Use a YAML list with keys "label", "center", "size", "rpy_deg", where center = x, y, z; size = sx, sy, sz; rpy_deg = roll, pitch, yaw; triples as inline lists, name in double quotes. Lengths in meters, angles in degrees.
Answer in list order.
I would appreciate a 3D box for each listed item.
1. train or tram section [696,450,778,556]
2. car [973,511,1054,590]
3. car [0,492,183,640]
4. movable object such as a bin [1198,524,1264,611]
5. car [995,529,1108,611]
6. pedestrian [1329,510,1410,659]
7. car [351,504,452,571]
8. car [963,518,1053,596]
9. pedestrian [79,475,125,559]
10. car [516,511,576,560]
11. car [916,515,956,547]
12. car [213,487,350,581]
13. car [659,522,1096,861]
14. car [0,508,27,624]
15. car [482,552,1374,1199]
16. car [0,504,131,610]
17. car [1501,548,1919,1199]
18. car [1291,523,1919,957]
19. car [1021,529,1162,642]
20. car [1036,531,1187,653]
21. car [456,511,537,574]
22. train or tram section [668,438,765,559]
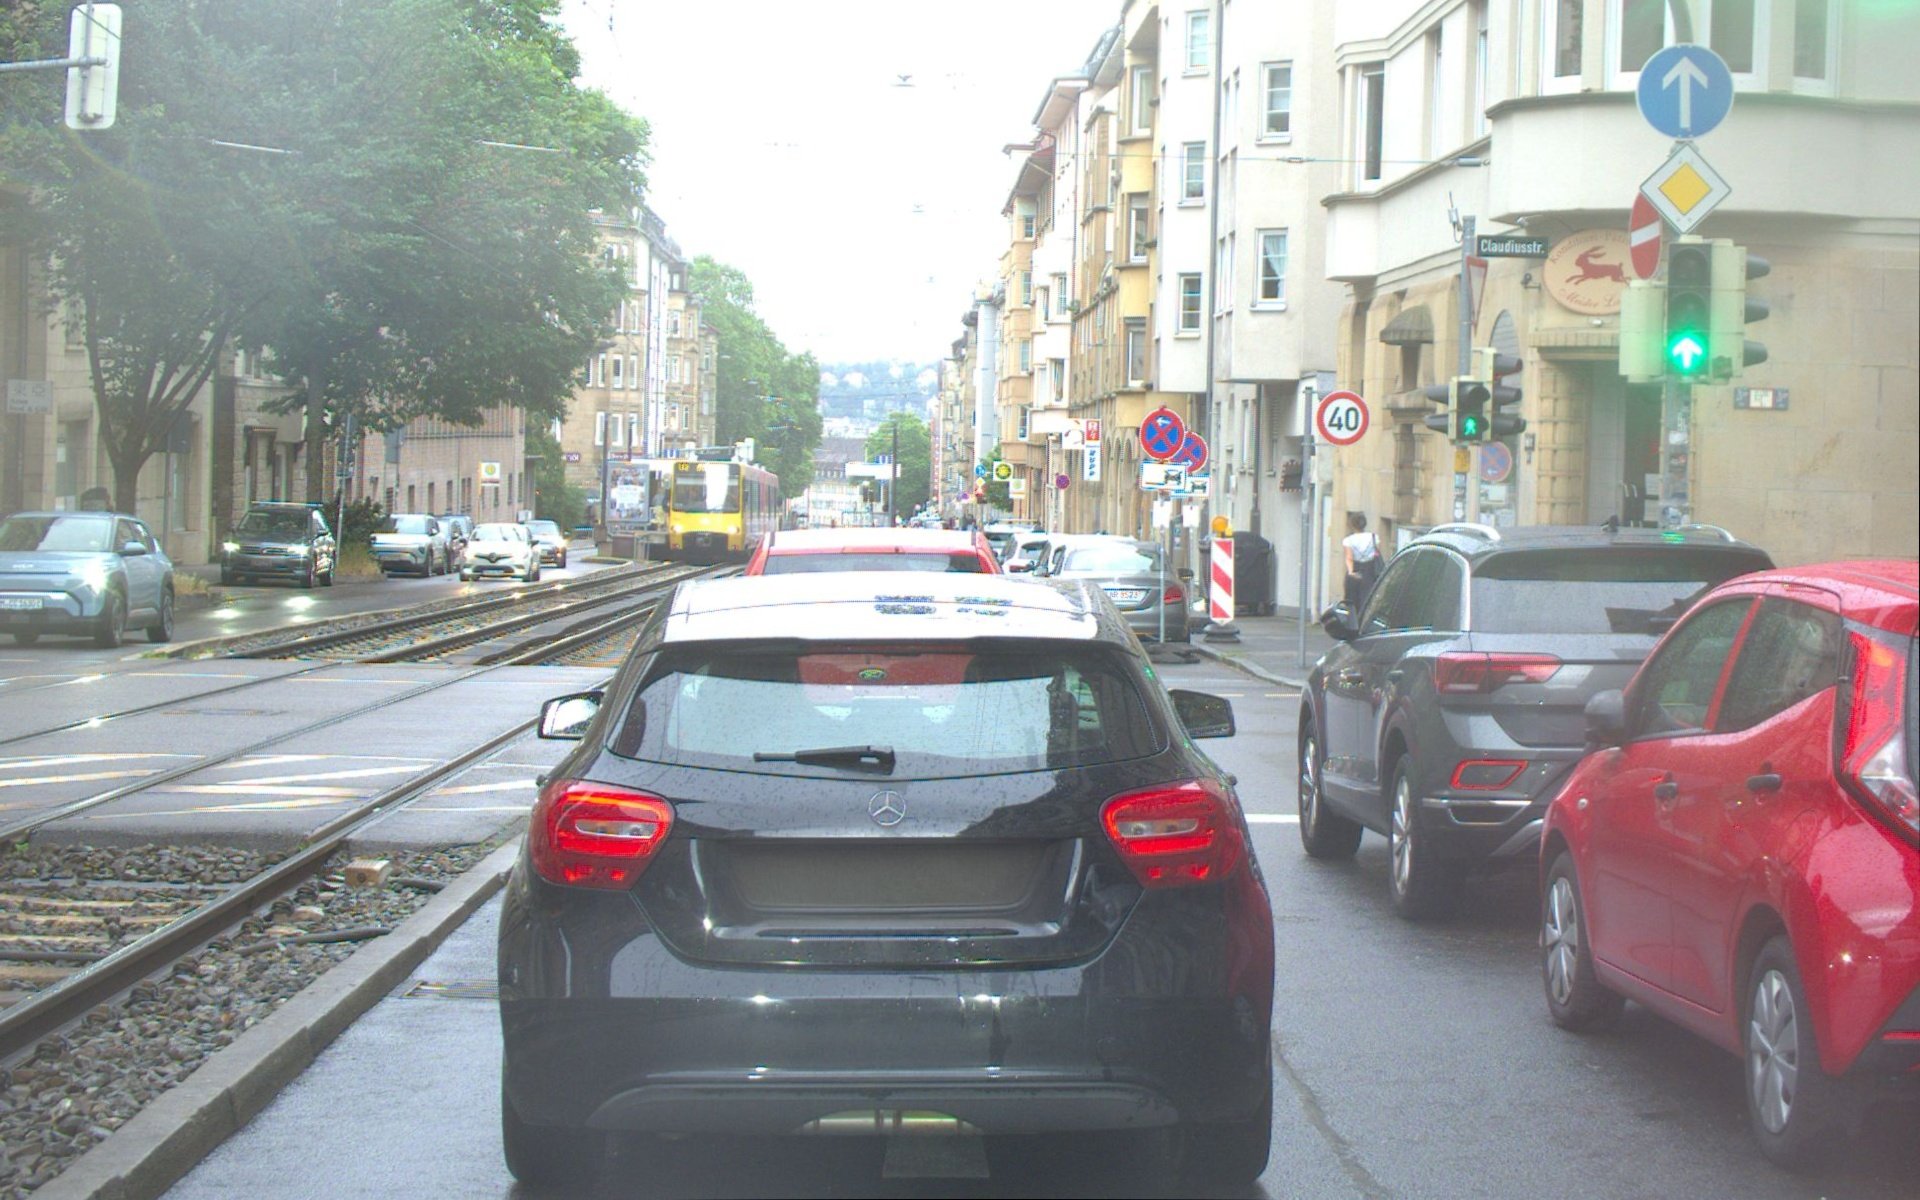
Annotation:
- label: "train or tram section"
  center: [-9.062, -3.963, 141.141]
  size: [2.745, 4.048, 15.663]
  rpy_deg: [1, 1, -2]
- label: "car"
  center: [1.217, -1.136, 79.573]
  size: [1.778, 1.744, 4.549]
  rpy_deg: [1, 1, 0]
- label: "car"
  center: [-10.373, -0.396, 39.865]
  size: [1.921, 1.612, 4.129]
  rpy_deg: [1, 1, -2]
- label: "movable object such as a bin"
  center: [4.616, -0.552, 58.690]
  size: [0.980, 1.463, 1.273]
  rpy_deg: [1, 0, -1]
- label: "car"
  center: [1.585, -0.540, 60.822]
  size: [1.789, 1.381, 4.395]
  rpy_deg: [1, 1, -1]
- label: "pedestrian"
  center: [4.709, -0.180, 39.565]
  size: [0.804, 1.681, 0.754]
  rpy_deg: [1, 0, -1]
- label: "car"
  center: [-14.296, -1.621, 88.191]
  size: [1.961, 1.600, 4.329]
  rpy_deg: [2, 2, -2]
- label: "car"
  center: [1.048, -0.915, 73.514]
  size: [1.841, 1.602, 4.760]
  rpy_deg: [1, 1, 1]
- label: "pedestrian"
  center: [-17.290, -1.669, 69.290]
  size: [0.728, 1.657, 0.771]
  rpy_deg: [2, 1, -1]
- label: "car"
  center: [-12.420, -1.949, 103.195]
  size: [1.653, 1.457, 3.735]
  rpy_deg: [0, 1, -5]
- label: "car"
  center: [-1.192, -3.459, 172.327]
  size: [1.887, 1.520, 4.245]
  rpy_deg: [2, 1, 1]
- label: "car"
  center: [-13.951, -1.380, 70.885]
  size: [1.953, 1.736, 4.780]
  rpy_deg: [4, 2, -2]
- label: "car"
  center: [-0.412, 0.389, 18.167]
  size: [1.993, 1.520, 4.246]
  rpy_deg: [2, 1, -1]
- label: "car"
  center: [-13.436, -0.448, 44.568]
  size: [1.689, 1.524, 4.176]
  rpy_deg: [1, 1, -2]
- label: "car"
  center: [-0.091, 0.623, 9.108]
  size: [1.834, 1.448, 3.902]
  rpy_deg: [1, 1, -1]
- label: "car"
  center: [-13.484, -0.626, 50.122]
  size: [1.780, 1.455, 4.979]
  rpy_deg: [1, 1, -2]
- label: "car"
  center: [2.719, 0.616, 9.396]
  size: [1.705, 1.448, 3.533]
  rpy_deg: [2, 1, -3]
- label: "car"
  center: [2.583, 0.482, 14.667]
  size: [1.867, 1.543, 3.991]
  rpy_deg: [2, 1, -1]
- label: "car"
  center: [1.785, -0.217, 47.870]
  size: [1.712, 1.463, 4.774]
  rpy_deg: [1, 1, -1]
- label: "car"
  center: [1.822, -0.116, 42.503]
  size: [1.711, 1.405, 4.817]
  rpy_deg: [1, 1, 1]
- label: "car"
  center: [-11.363, -1.405, 84.412]
  size: [1.780, 1.497, 4.063]
  rpy_deg: [1, 1, -5]
- label: "train or tram section"
  center: [-8.716, -3.636, 124.863]
  size: [2.745, 4.048, 17.216]
  rpy_deg: [1, 1, -2]
